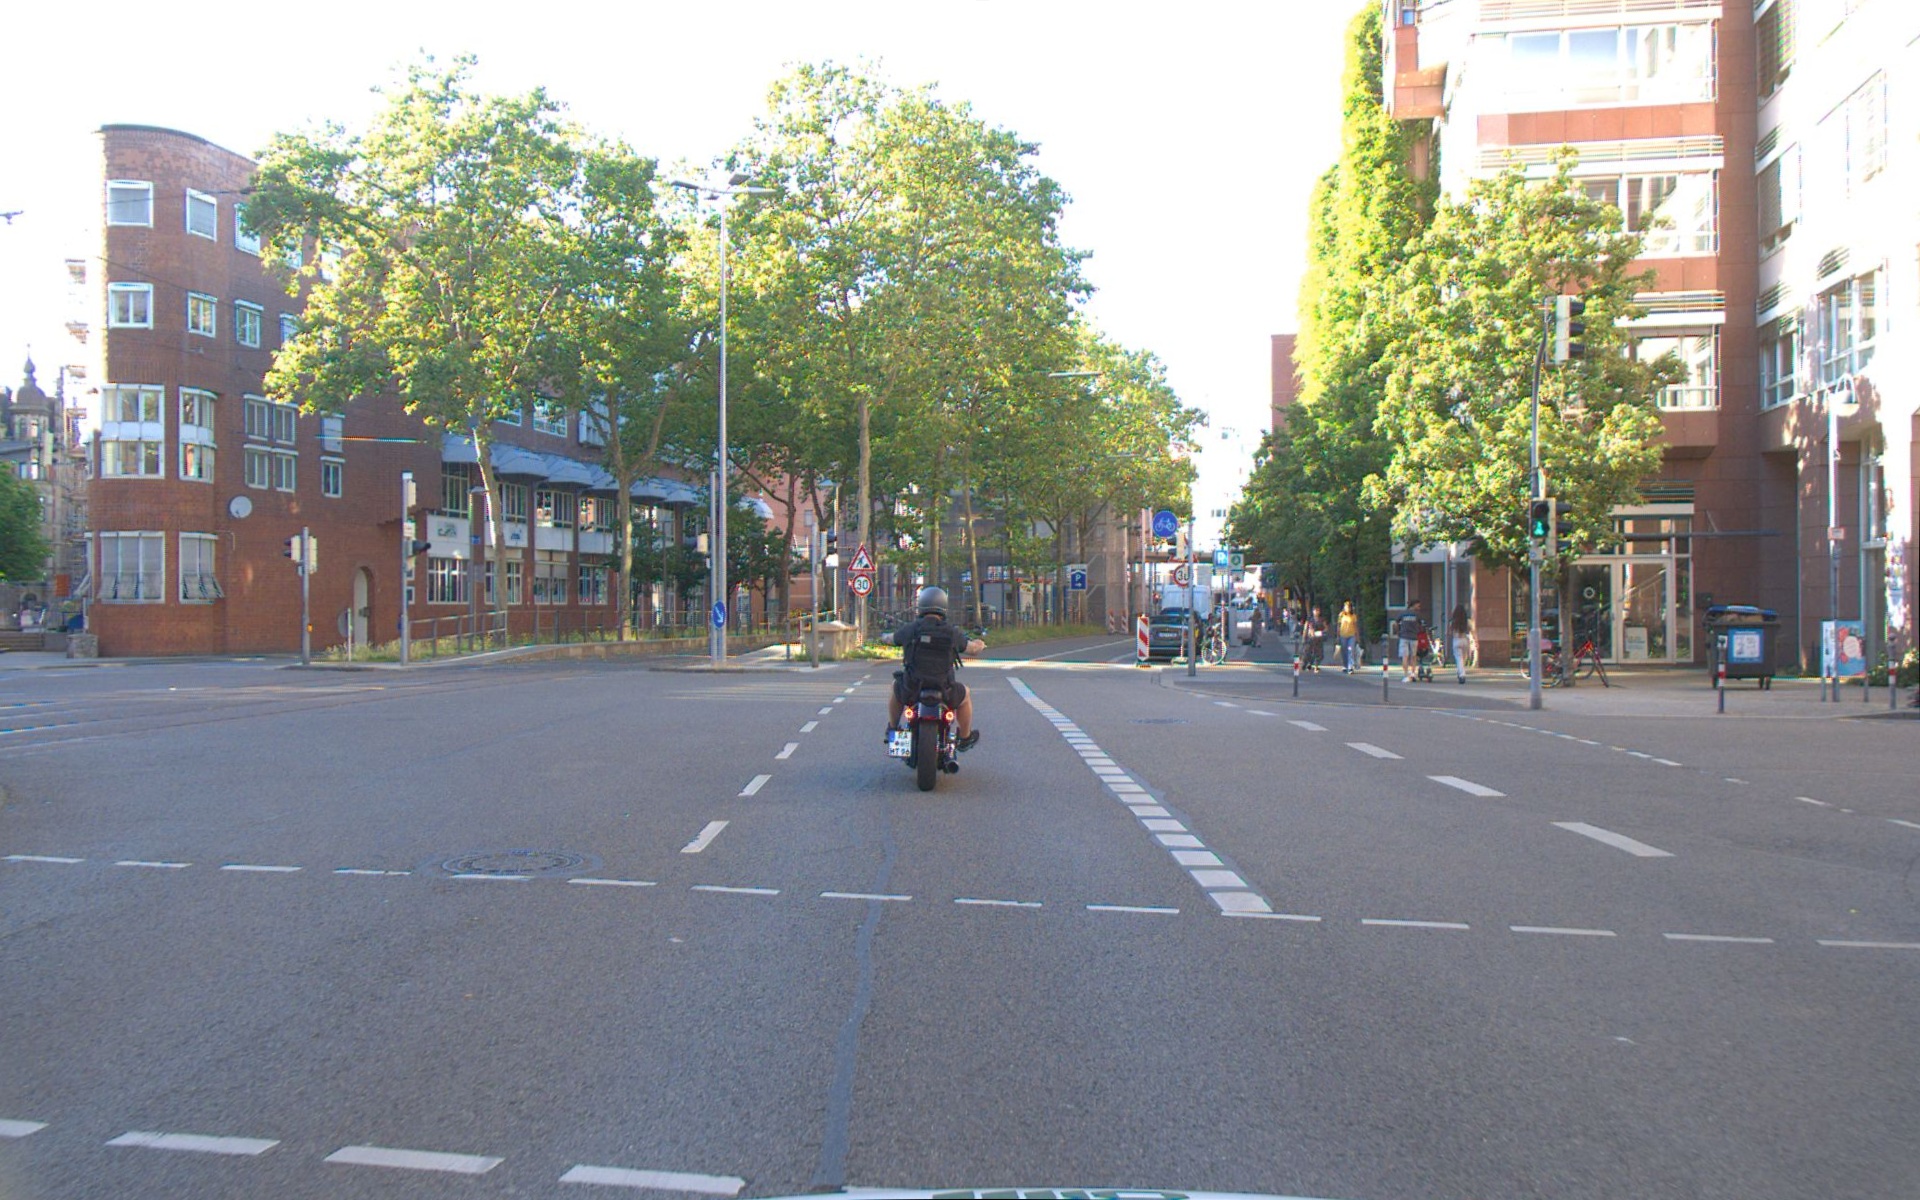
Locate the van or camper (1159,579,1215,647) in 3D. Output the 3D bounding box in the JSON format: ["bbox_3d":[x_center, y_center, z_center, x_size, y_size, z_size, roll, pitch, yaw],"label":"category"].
[{"bbox_3d":[9.083,0.507,65.811,2.005,2.585,5.778,0,0,10],"label":"van or camper"}]

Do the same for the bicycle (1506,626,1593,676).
[{"bbox_3d":[12.942,1.112,36.324,1.712,1.071,0.738,0,0,27],"label":"bicycle"}]

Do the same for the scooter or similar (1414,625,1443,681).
[{"bbox_3d":[10.079,1.133,35.619,0.386,1.178,1.250,0,0,6],"label":"scooter or similar"}]

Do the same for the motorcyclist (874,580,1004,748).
[{"bbox_3d":[-0.160,0.505,13.460,0.991,1.285,0.774,2,0,1],"label":"motorcyclist"}]

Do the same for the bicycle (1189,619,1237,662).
[{"bbox_3d":[6.457,1.026,42.245,0.723,1.071,1.748,0,0,-9],"label":"bicycle"}]

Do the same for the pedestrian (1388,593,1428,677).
[{"bbox_3d":[9.651,0.756,35.646,0.769,1.794,0.610,0,0,8],"label":"pedestrian"}]

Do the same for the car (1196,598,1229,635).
[{"bbox_3d":[14.526,0.923,95.144,1.796,2.049,4.391,0,0,9],"label":"car"}]

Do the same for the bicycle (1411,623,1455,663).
[{"bbox_3d":[11.864,1.070,41.516,0.721,0.956,1.753,0,0,4],"label":"bicycle"}]

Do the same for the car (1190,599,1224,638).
[{"bbox_3d":[13.323,0.996,89.053,1.796,2.049,4.391,0,0,9],"label":"car"}]

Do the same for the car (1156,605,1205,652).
[{"bbox_3d":[7.946,0.996,59.360,1.585,1.648,4.489,0,0,9],"label":"car"}]

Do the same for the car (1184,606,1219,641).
[{"bbox_3d":[11.462,1.112,78.674,1.585,1.638,3.777,0,0,8],"label":"car"}]

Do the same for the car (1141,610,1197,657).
[{"bbox_3d":[6.287,0.968,49.421,1.585,1.325,4.315,0,0,8],"label":"car"}]

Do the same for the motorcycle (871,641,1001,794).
[{"bbox_3d":[-0.167,0.927,13.665,0.997,1.116,2.008,0,0,1],"label":"motorcycle"}]

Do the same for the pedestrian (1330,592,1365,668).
[{"bbox_3d":[9.171,0.703,39.172,0.685,1.764,0.768,0,0,3],"label":"pedestrian"}]

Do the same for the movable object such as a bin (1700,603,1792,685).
[{"bbox_3d":[14.592,0.808,30.740,1.380,1.508,0.872,0,0,11],"label":"movable object such as a bin"}]

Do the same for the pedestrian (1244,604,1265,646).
[{"bbox_3d":[11.914,1.006,66.947,0.747,1.673,0.547,0,-1,2],"label":"pedestrian"}]

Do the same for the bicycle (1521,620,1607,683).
[{"bbox_3d":[12.132,1.039,33.259,1.534,1.248,0.578,0,0,5],"label":"bicycle"}]

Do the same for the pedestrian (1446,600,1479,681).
[{"bbox_3d":[10.712,0.853,35.256,0.450,1.702,0.679,0,0,-4],"label":"pedestrian"}]

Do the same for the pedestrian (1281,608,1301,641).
[{"bbox_3d":[14.929,1.110,74.608,0.749,1.471,0.780,1,-1,3],"label":"pedestrian"}]

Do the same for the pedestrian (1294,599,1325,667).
[{"bbox_3d":[8.348,0.793,39.540,0.630,1.606,0.748,0,0,3],"label":"pedestrian"}]
